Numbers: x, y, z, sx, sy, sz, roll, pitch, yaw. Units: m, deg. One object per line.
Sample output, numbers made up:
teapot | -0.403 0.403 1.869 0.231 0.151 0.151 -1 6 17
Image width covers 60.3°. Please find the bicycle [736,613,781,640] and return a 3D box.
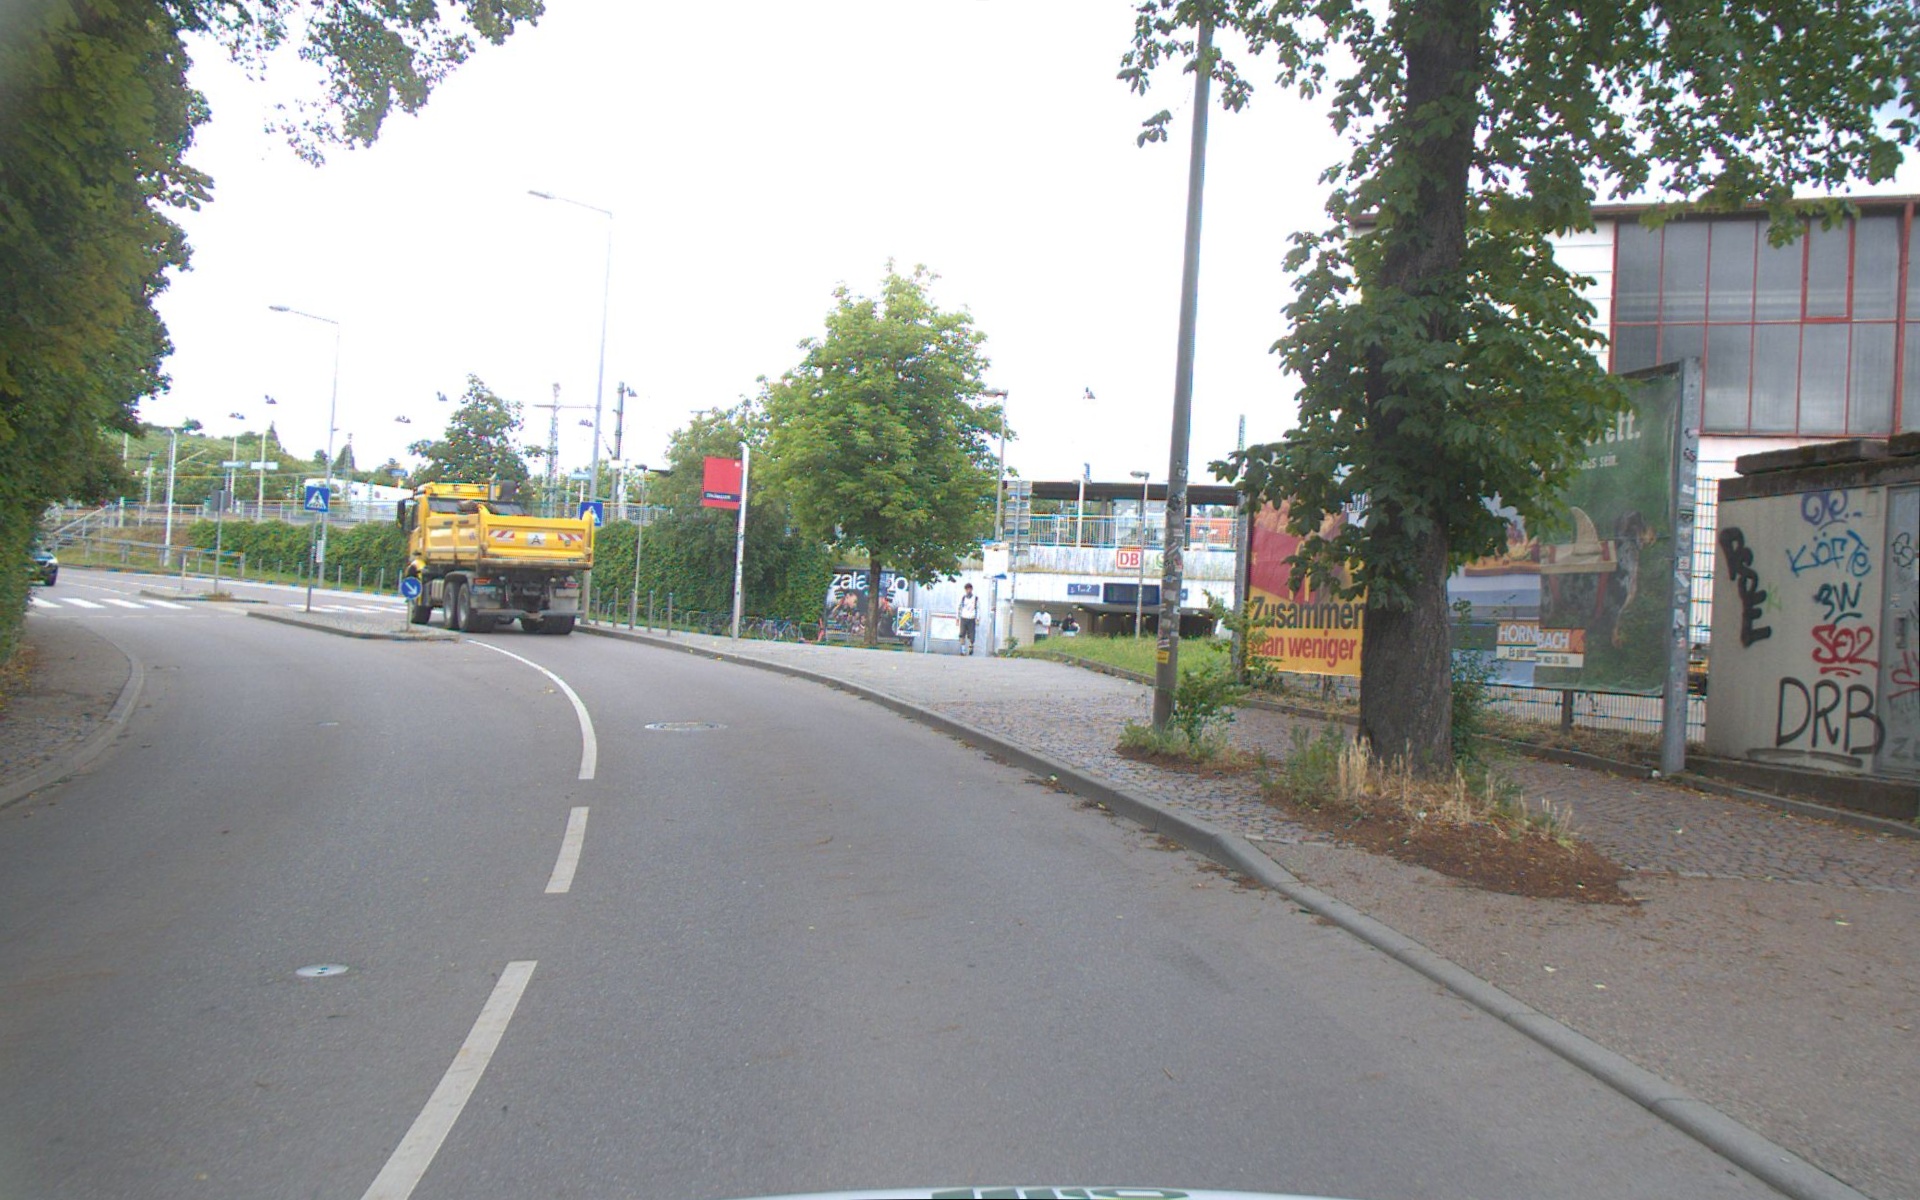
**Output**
bicycle | -7.542 0.984 61.857 1.559 0.869 0.459 7 -2 -30

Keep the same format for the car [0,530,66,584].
car | -29.366 -1.383 52.367 1.784 1.638 4.135 0 2 -30

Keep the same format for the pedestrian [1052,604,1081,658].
pedestrian | 3.237 0.946 50.156 0.782 1.611 0.802 2 -2 6

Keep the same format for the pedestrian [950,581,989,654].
pedestrian | 0.233 0.423 39.719 0.830 1.714 0.940 2 -2 3

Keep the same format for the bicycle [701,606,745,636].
bicycle | -8.881 0.780 61.968 1.463 1.006 0.691 6 -1 -16

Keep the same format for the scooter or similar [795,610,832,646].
scooter or similar | -5.365 1.026 60.462 1.175 1.227 0.463 6 -3 -30

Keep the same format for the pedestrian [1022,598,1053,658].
pedestrian | 2.289 0.831 48.918 0.797 1.732 0.749 2 -2 6

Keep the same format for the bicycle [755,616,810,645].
bicycle | -6.582 1.130 61.279 1.948 0.880 0.505 8 -3 -34

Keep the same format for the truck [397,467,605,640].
truck | -11.047 -1.171 39.146 2.735 3.543 8.051 4 1 -29
